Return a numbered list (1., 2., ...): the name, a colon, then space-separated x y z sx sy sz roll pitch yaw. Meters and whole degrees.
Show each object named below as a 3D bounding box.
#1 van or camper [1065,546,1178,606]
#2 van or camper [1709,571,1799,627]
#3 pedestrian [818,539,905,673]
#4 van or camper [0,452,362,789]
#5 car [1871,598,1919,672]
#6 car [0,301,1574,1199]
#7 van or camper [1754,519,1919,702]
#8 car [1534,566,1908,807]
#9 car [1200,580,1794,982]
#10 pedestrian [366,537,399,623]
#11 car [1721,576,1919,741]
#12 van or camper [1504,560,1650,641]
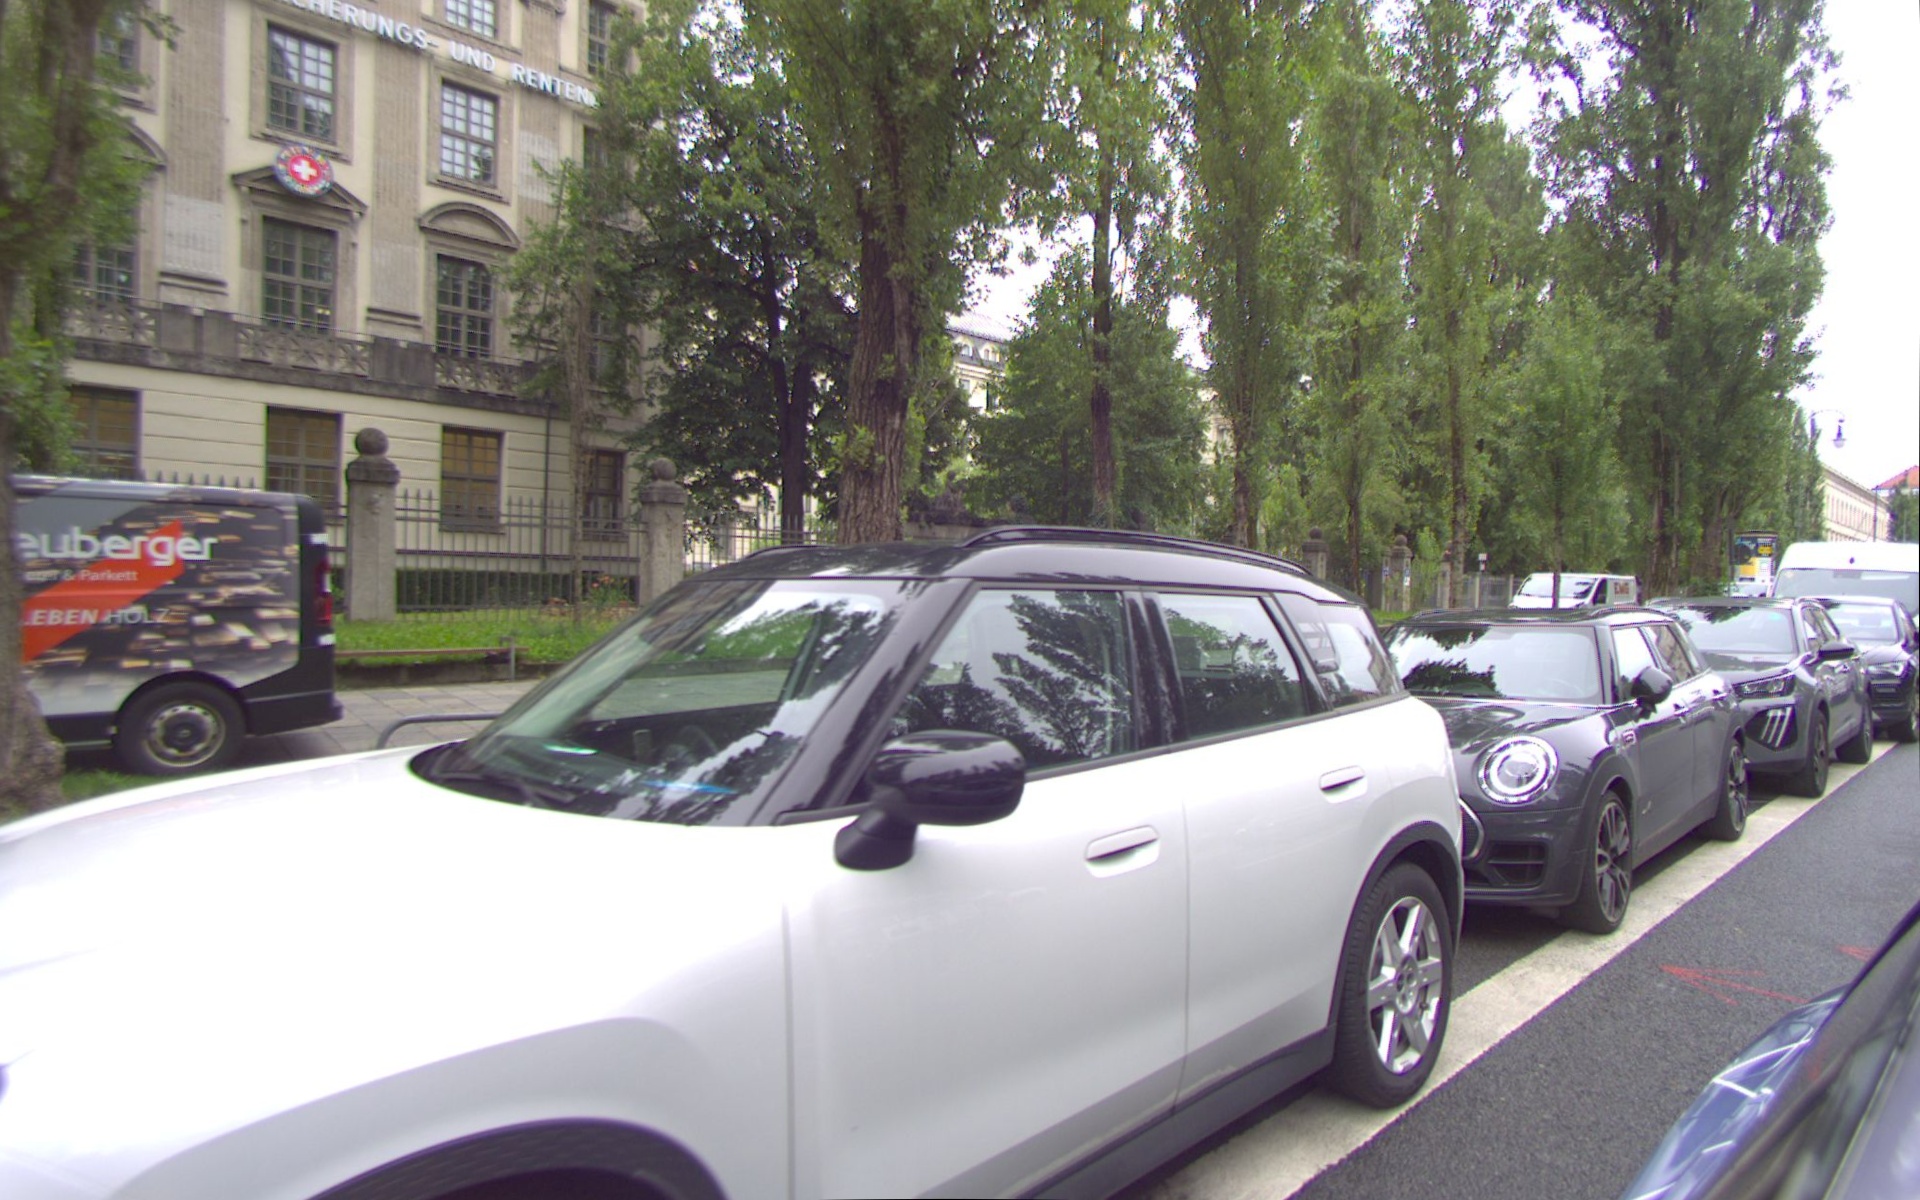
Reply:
1. van or camper: 7.773 -1.199 49.120 2.210 2.740 5.220 1 2 -40
2. van or camper: 30.962 -0.040 39.405 4.901 2.039 2.006 0 0 -43
3. pedestrian: -1.374 0.068 14.055 0.879 1.790 0.797 1 1 -39
4. van or camper: -6.864 0.100 6.164 5.274 1.958 2.080 0 0 -41
5. car: 20.605 0.704 21.364 3.932 1.438 1.678 0 2 -43
6. car: -0.148 0.565 2.684 4.500 1.696 1.746 0 1 -41
7. van or camper: 15.365 0.125 16.908 6.305 2.572 2.143 0 2 -41
8. car: 7.032 0.583 9.147 4.557 1.638 1.787 0 1 -41
9. car: 3.398 0.704 5.992 4.220 1.538 1.706 0 1 -41
10. pedestrian: -12.863 -0.447 22.528 0.495 1.886 0.637 0 2 -43
11. car: 10.958 0.598 12.483 4.343 1.669 1.787 0 2 -43
12. van or camper: 16.464 0.000 26.898 4.951 1.958 1.978 0 0 -42
